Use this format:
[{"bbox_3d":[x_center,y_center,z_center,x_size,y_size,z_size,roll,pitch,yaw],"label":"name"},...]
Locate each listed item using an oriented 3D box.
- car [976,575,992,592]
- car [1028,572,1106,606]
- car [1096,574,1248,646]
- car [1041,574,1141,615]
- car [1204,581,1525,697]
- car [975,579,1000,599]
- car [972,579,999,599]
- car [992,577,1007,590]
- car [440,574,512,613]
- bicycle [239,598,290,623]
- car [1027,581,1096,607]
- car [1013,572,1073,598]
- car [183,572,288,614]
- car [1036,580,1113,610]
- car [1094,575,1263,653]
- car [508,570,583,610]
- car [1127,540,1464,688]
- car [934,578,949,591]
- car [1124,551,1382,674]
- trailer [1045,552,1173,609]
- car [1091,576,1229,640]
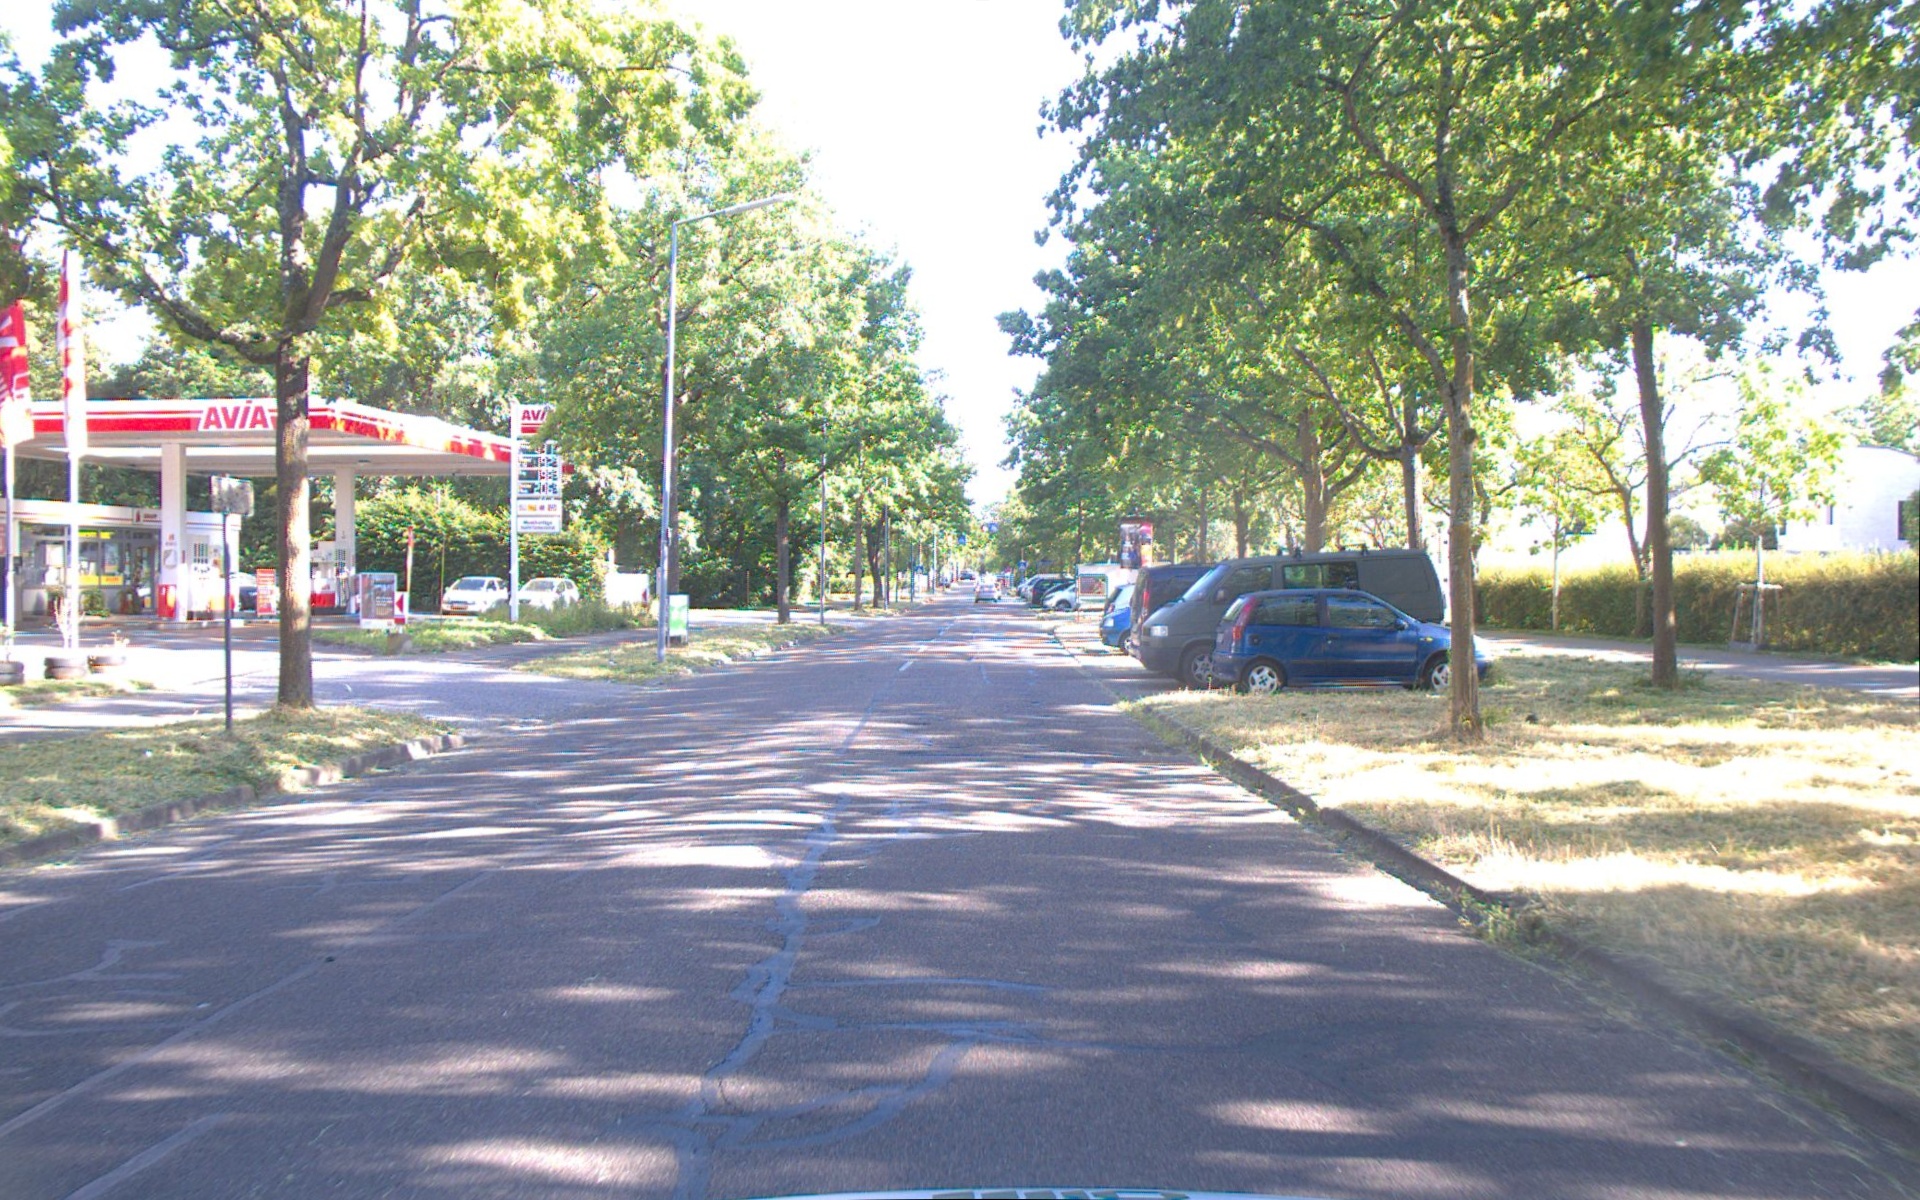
[{"bbox_3d":[2.870,-1.973,200.554,1.952,1.966,4.000,1,1,0],"label":"car"},{"bbox_3d":[6.263,-0.645,97.264,4.436,1.832,1.936,-1,0,1],"label":"car"},{"bbox_3d":[5.119,0.238,40.274,3.509,1.604,1.787,-2,0,2],"label":"car"},{"bbox_3d":[6.133,-0.278,77.730,4.546,1.752,1.988,-2,0,2],"label":"car"},{"bbox_3d":[5.368,0.498,22.317,3.906,1.428,1.740,-1,0,0],"label":"car"},{"bbox_3d":[2.298,-0.901,140.259,1.953,1.684,3.999,0,0,-2],"label":"car"},{"bbox_3d":[1.900,-0.821,124.835,1.953,1.510,4.000,0,0,-1],"label":"car"},{"bbox_3d":[5.315,-2.195,221.480,1.952,1.746,4.000,1,1,0],"label":"car"},{"bbox_3d":[-18.442,-0.268,63.120,1.392,1.391,3.208,2,1,9],"label":"car"},{"bbox_3d":[-23.473,0.351,55.866,0.604,0.821,1.781,0,1,16],"label":"bicycle"},{"bbox_3d":[6.824,-0.441,111.667,4.574,1.608,1.917,-2,1,1],"label":"car"},{"bbox_3d":[7.228,-1.304,144.663,5.081,2.142,2.082,-1,0,-1],"label":"car"},{"bbox_3d":[-26.560,-0.275,60.691,3.126,1.424,1.586,2,1,9],"label":"car"},{"bbox_3d":[6.248,-0.267,90.598,4.157,1.545,2.079,-1,0,2],"label":"car"},{"bbox_3d":[4.658,0.287,35.669,3.447,1.559,1.665,-2,0,2],"label":"car"},{"bbox_3d":[-15.807,-0.404,63.227,1.513,1.447,3.490,2,1,9],"label":"car"},{"bbox_3d":[4.997,0.194,25.134,4.704,2.067,1.944,-1,0,0],"label":"car"},{"bbox_3d":[-2.535,-2.143,227.715,1.952,1.746,4.000,1,1,0],"label":"car"},{"bbox_3d":[4.840,0.190,27.691,3.928,1.869,1.799,-2,0,-2],"label":"car"},{"bbox_3d":[6.703,-0.874,74.872,5.654,2.358,1.687,-2,0,3],"label":"trailer"},{"bbox_3d":[5.439,0.210,45.267,3.510,1.604,1.857,-2,0,0],"label":"car"}]
